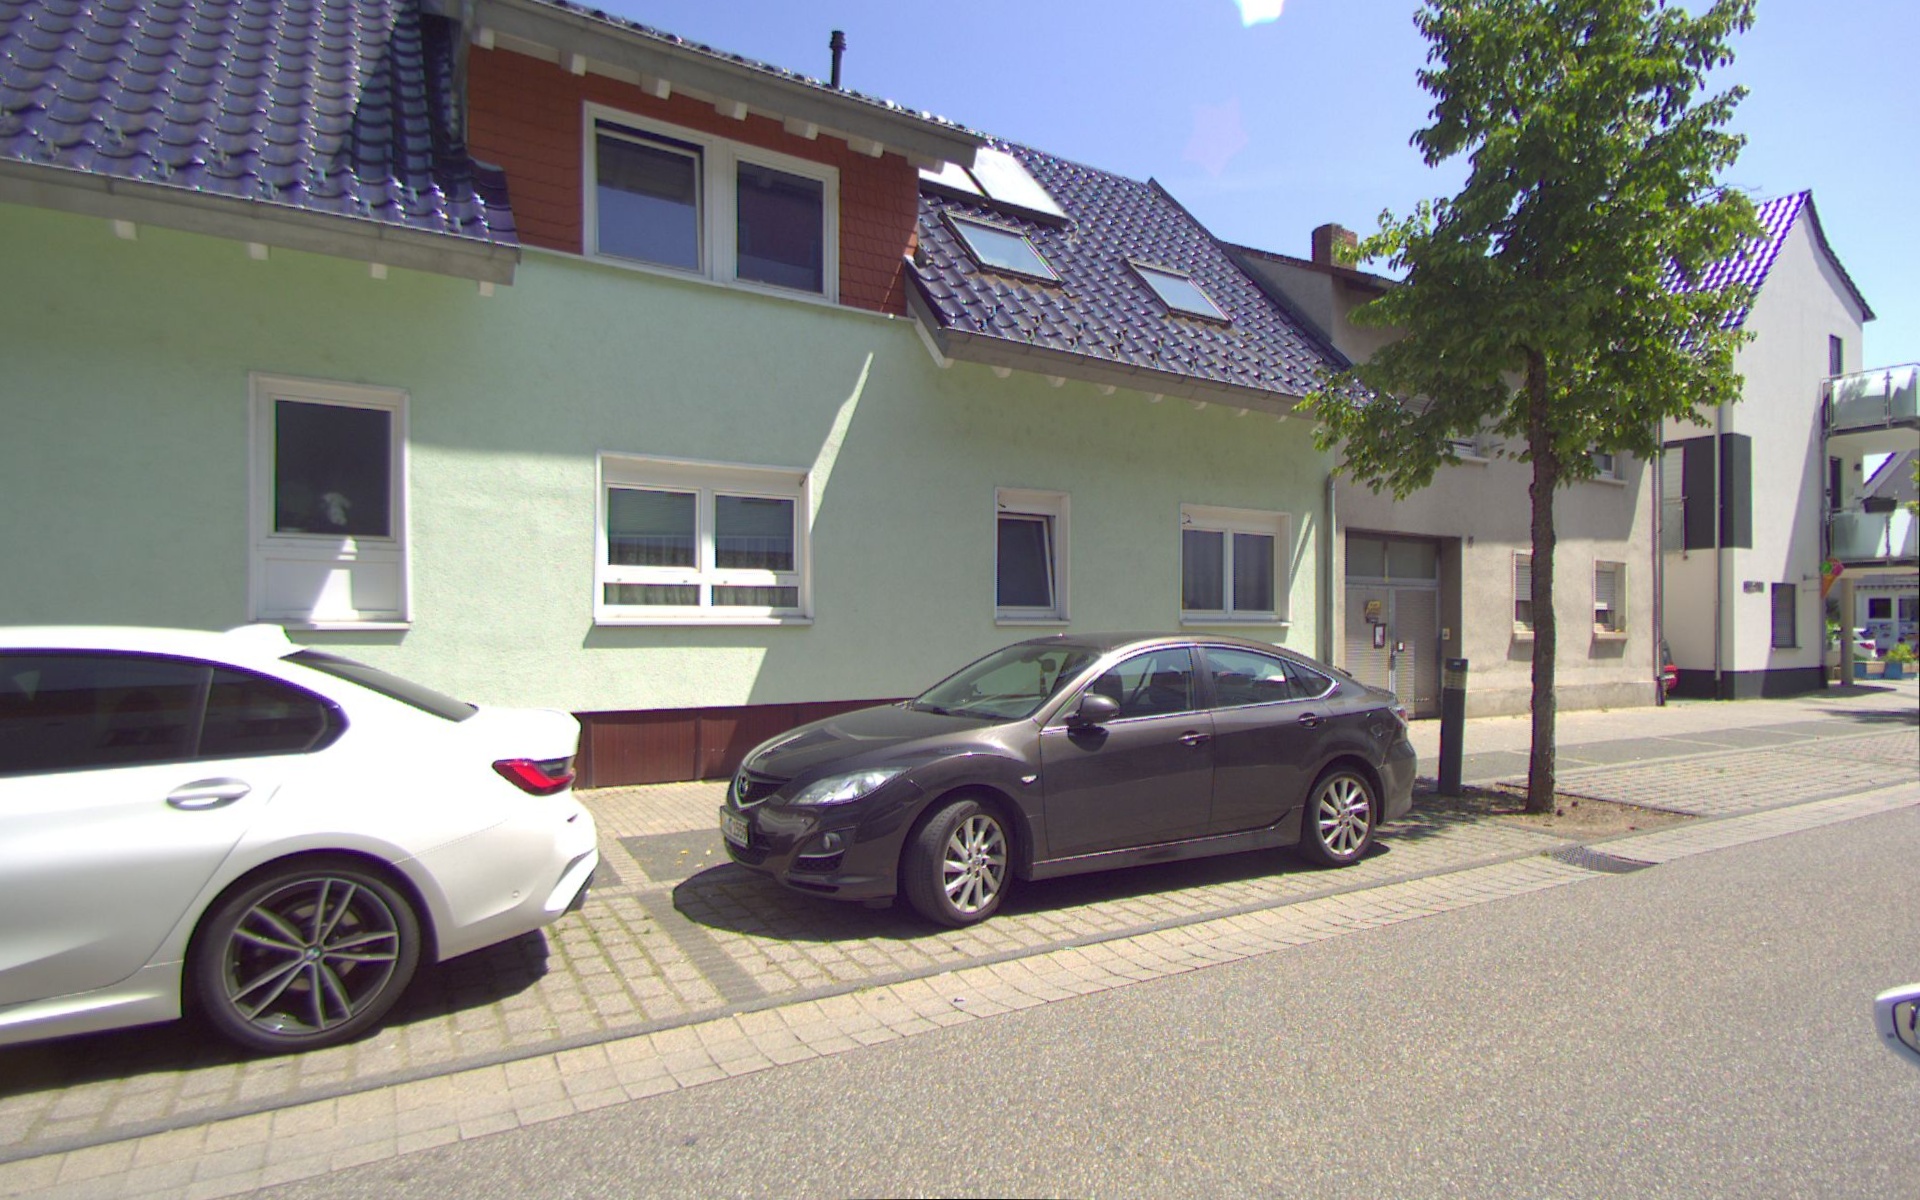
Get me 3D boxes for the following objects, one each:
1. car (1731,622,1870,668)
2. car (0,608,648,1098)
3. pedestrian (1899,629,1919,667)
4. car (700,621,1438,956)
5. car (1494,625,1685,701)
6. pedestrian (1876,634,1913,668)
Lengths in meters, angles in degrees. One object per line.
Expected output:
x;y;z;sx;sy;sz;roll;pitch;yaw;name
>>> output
30.875;1.605;36.955;3.874;1.566;1.509;-1;0;43;car
-3.561;0.764;3.606;4.407;1.456;1.712;1;-1;-30;car
34.277;1.722;35.948;0.623;1.306;0.789;2;1;16;pedestrian
0.835;0.877;6.254;4.485;1.456;1.653;1;-1;-30;car
13.276;1.265;21.310;1.571;1.462;3.093;1;-1;-35;car
33.332;1.811;35.823;0.623;1.131;0.789;2;1;16;pedestrian
